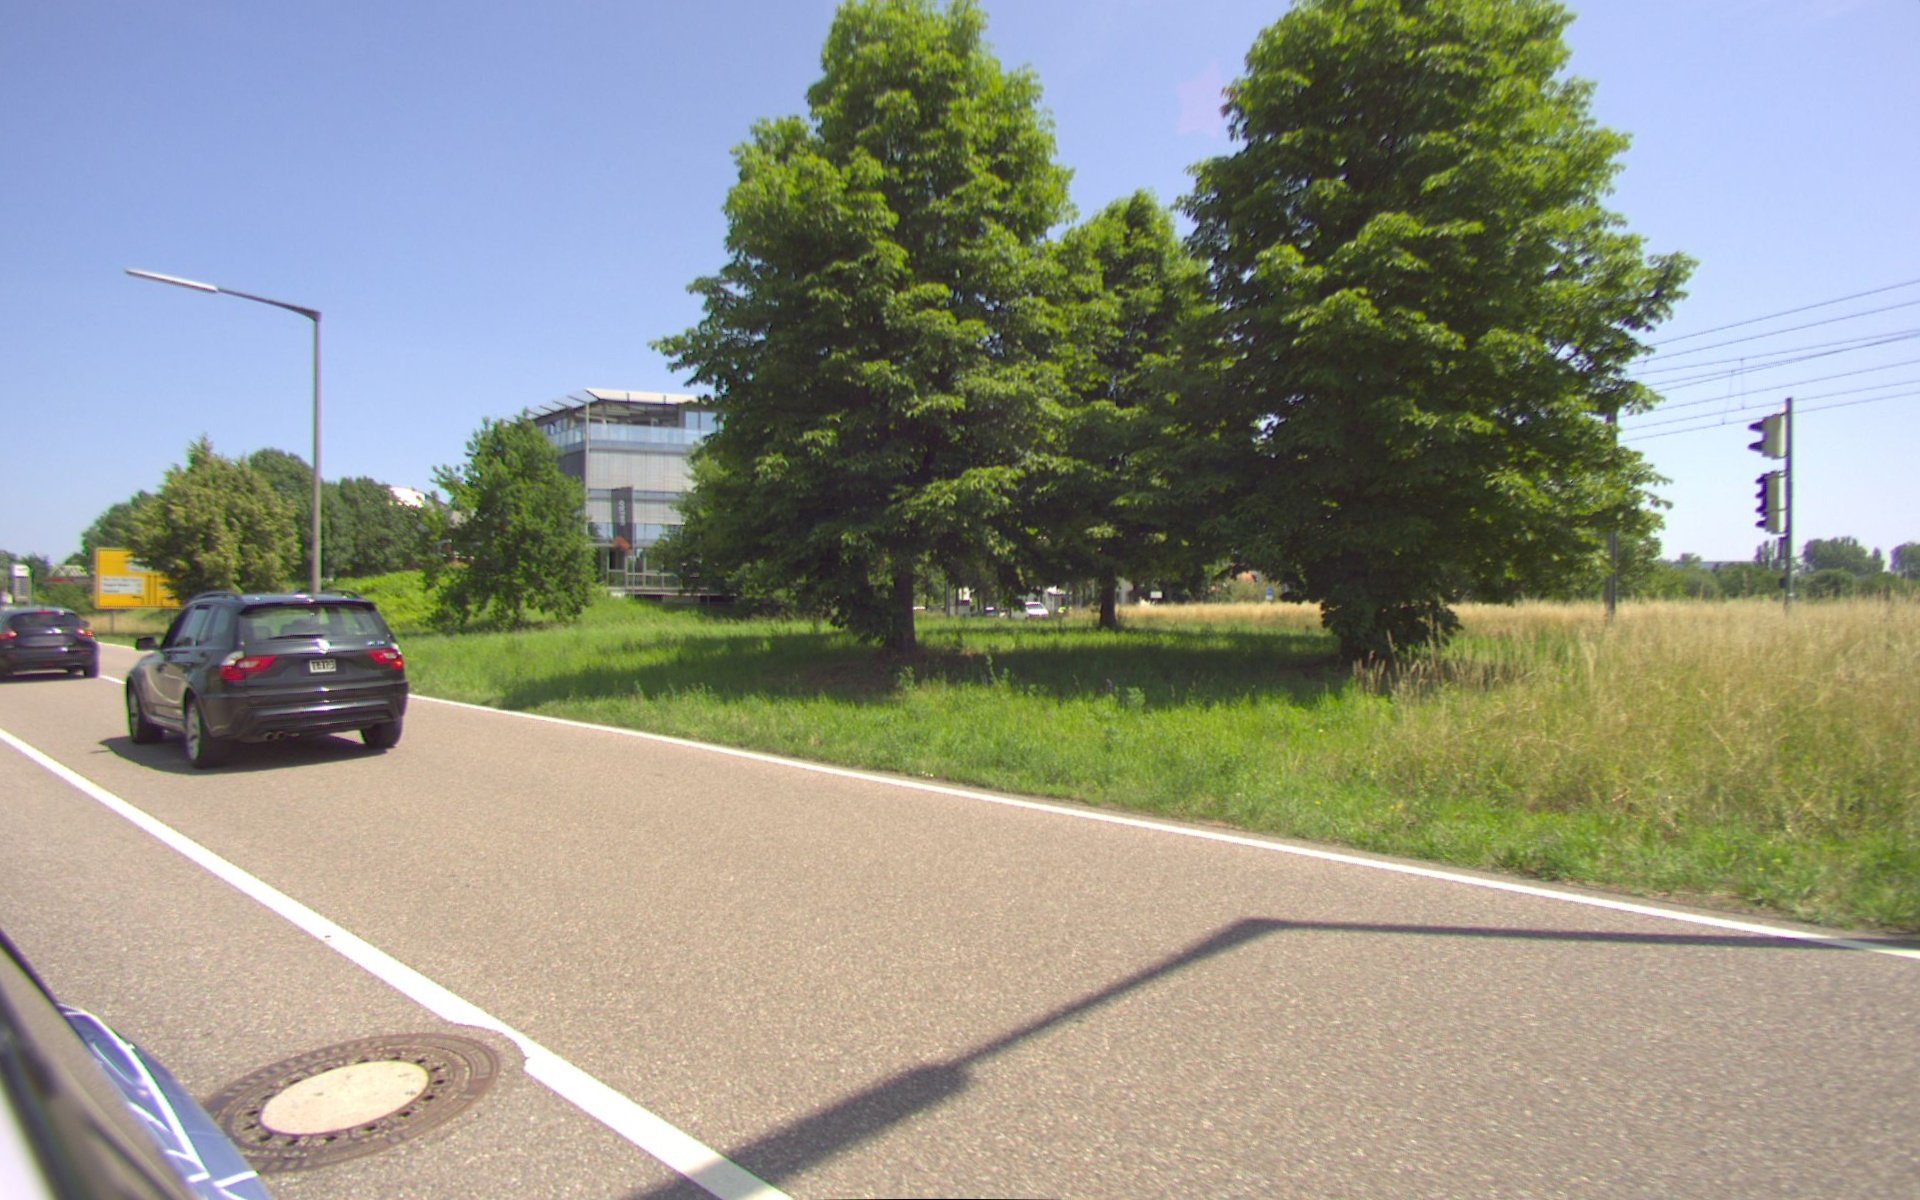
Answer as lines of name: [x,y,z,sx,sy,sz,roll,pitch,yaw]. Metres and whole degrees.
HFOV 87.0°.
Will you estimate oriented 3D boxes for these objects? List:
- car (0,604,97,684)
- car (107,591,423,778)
car: [-20.562,0.914,22.367,4.112,1.584,1.802,1,0,43]
car: [-7.608,0.785,10.894,4.483,1.614,1.807,-2,-2,42]
